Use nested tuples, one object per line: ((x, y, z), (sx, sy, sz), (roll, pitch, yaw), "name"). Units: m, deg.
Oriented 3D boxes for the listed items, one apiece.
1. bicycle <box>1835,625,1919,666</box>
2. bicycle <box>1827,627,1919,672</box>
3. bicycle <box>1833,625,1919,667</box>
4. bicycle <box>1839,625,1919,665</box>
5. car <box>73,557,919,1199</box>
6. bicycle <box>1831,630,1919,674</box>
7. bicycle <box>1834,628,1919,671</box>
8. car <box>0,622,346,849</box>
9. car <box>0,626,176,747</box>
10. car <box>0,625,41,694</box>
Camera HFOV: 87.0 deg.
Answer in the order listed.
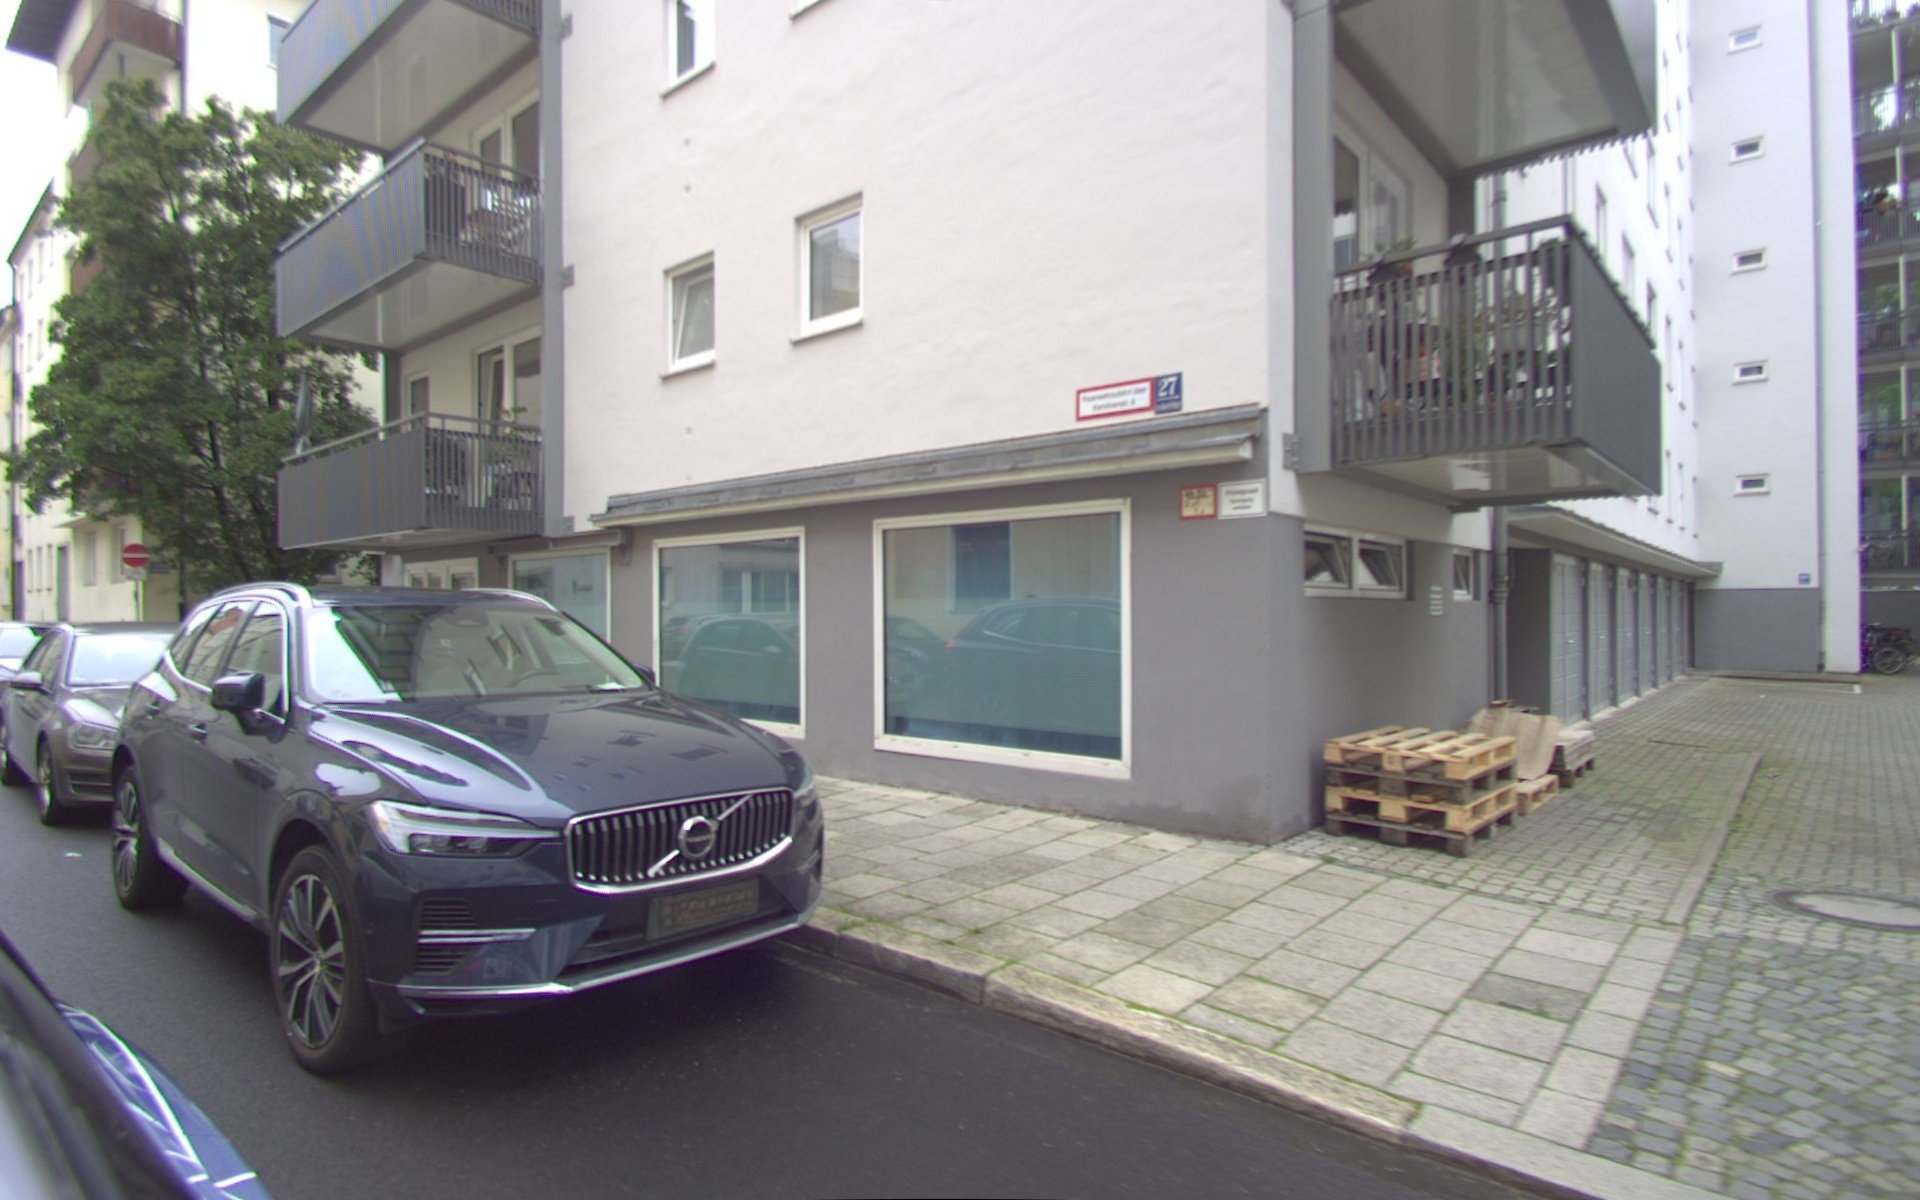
((24.864, 1.210, 27.210), (1.991, 1.068, 0.598), (-1, -1, 41), "bicycle")
((22.796, 1.205, 25.066), (1.991, 1.068, 0.598), (-1, -1, 41), "bicycle")
((24.274, 1.206, 26.595), (1.991, 1.068, 0.598), (-1, -1, 41), "bicycle")
((25.517, 1.230, 27.852), (1.991, 1.068, 0.598), (-1, -1, 41), "bicycle")
((-2.500, 0.735, 4.765), (4.538, 1.619, 1.946), (-1, -1, 41), "car")
((23.302, 1.288, 25.532), (1.991, 1.068, 0.598), (-1, -1, 41), "bicycle")
((23.770, 1.258, 25.980), (1.991, 1.068, 0.598), (-1, -1, 41), "bicycle")
((-7.026, 0.924, 8.691), (4.294, 1.453, 1.794), (-1, -1, 41), "car")
((-12.622, 1.083, 14.070), (4.294, 1.410, 1.946), (-1, -1, 41), "car")
((-21.277, 1.238, 21.622), (4.294, 1.387, 1.946), (-1, -1, 41), "car")
